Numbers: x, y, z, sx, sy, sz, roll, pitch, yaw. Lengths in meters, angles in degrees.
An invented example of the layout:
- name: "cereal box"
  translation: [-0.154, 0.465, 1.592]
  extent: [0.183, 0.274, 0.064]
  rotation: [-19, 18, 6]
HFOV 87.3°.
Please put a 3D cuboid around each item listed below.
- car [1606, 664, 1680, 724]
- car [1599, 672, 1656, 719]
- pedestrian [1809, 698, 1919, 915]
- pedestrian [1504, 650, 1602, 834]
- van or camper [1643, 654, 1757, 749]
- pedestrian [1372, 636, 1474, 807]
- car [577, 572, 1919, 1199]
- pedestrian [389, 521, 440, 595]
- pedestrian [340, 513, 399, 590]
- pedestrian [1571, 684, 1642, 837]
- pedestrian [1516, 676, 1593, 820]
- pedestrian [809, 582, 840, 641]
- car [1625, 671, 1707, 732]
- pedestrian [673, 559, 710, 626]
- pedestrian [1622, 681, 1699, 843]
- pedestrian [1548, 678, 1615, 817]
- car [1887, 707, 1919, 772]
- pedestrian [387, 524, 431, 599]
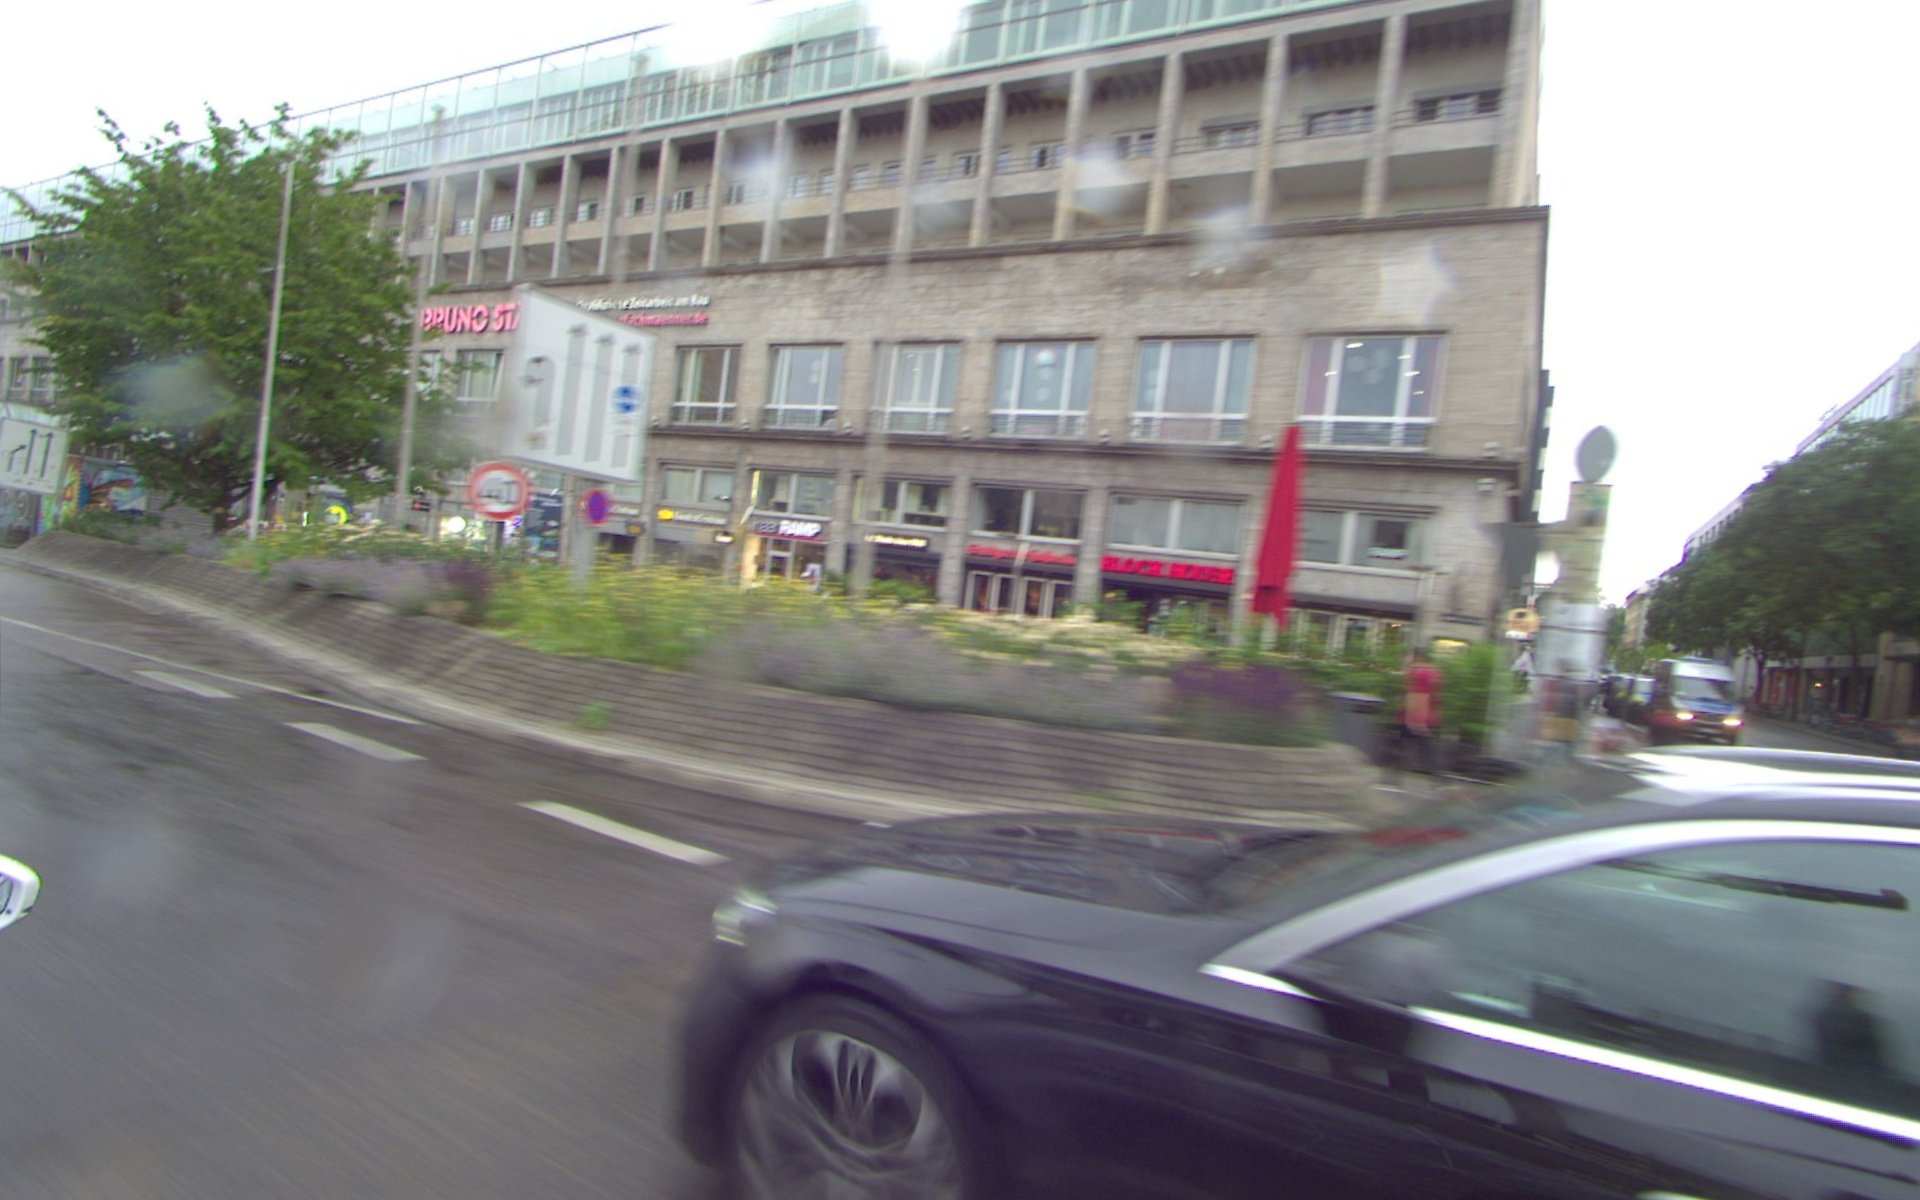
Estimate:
- name: "car"
  translation: [31.892, 4.362, 47.088]
  extent: [2.295, 2.323, 4.690]
  rotation: [7, 0, 30]
- name: "car"
  translation: [35.495, 5.063, 53.580]
  extent: [2.062, 2.128, 4.293]
  rotation: [7, 0, 30]
- name: "pedestrian"
  translation: [8.514, 1.851, 9.113]
  extent: [0.970, 1.783, 0.893]
  rotation: [7, 0, 34]
- name: "pedestrian"
  translation: [6.290, 1.482, 10.669]
  extent: [0.670, 1.812, 0.535]
  rotation: [8, 1, 34]
- name: "van or camper"
  translation: [25.368, 3.435, 34.731]
  extent: [2.455, 2.672, 5.998]
  rotation: [7, 0, 32]
- name: "pedestrian"
  translation: [5.274, 1.358, 11.454]
  extent: [0.822, 1.772, 0.699]
  rotation: [7, 1, 28]
- name: "car"
  translation: [1.565, 0.976, 2.049]
  extent: [4.621, 1.481, 1.821]
  rotation: [7, 0, 31]
- name: "pedestrian"
  translation: [-14.086, -1.089, 25.977]
  extent: [0.853, 1.772, 0.613]
  rotation: [7, 1, 28]
- name: "pedestrian"
  translation: [-14.688, -1.209, 25.029]
  extent: [1.058, 1.772, 0.641]
  rotation: [7, 1, 28]
- name: "pedestrian"
  translation: [6.943, 1.704, 10.812]
  extent: [0.463, 1.540, 0.499]
  rotation: [8, 1, 34]
- name: "pedestrian"
  translation: [6.900, 1.695, 11.675]
  extent: [0.582, 1.547, 0.554]
  rotation: [8, 1, 34]
- name: "pedestrian"
  translation: [-4.264, 0.363, 31.567]
  extent: [0.563, 1.772, 0.527]
  rotation: [7, 1, 30]
- name: "car"
  translation: [29.086, 4.137, 41.572]
  extent: [2.126, 2.072, 4.406]
  rotation: [7, 0, 30]
- name: "pedestrian"
  translation: [-7.530, -0.204, 28.189]
  extent: [0.625, 1.772, 0.532]
  rotation: [7, 1, 28]
- name: "pedestrian"
  translation: [7.624, 1.741, 10.967]
  extent: [0.487, 1.650, 0.626]
  rotation: [8, 1, 33]
- name: "pedestrian"
  translation: [7.457, 1.757, 12.074]
  extent: [0.505, 1.565, 0.424]
  rotation: [7, 1, 34]
- name: "car"
  translation: [30.583, 4.452, 30.763]
  extent: [1.966, 1.949, 5.158]
  rotation: [8, 0, 30]
- name: "pedestrian"
  translation: [-13.639, -0.951, 24.899]
  extent: [0.558, 1.772, 0.567]
  rotation: [7, 1, 28]
